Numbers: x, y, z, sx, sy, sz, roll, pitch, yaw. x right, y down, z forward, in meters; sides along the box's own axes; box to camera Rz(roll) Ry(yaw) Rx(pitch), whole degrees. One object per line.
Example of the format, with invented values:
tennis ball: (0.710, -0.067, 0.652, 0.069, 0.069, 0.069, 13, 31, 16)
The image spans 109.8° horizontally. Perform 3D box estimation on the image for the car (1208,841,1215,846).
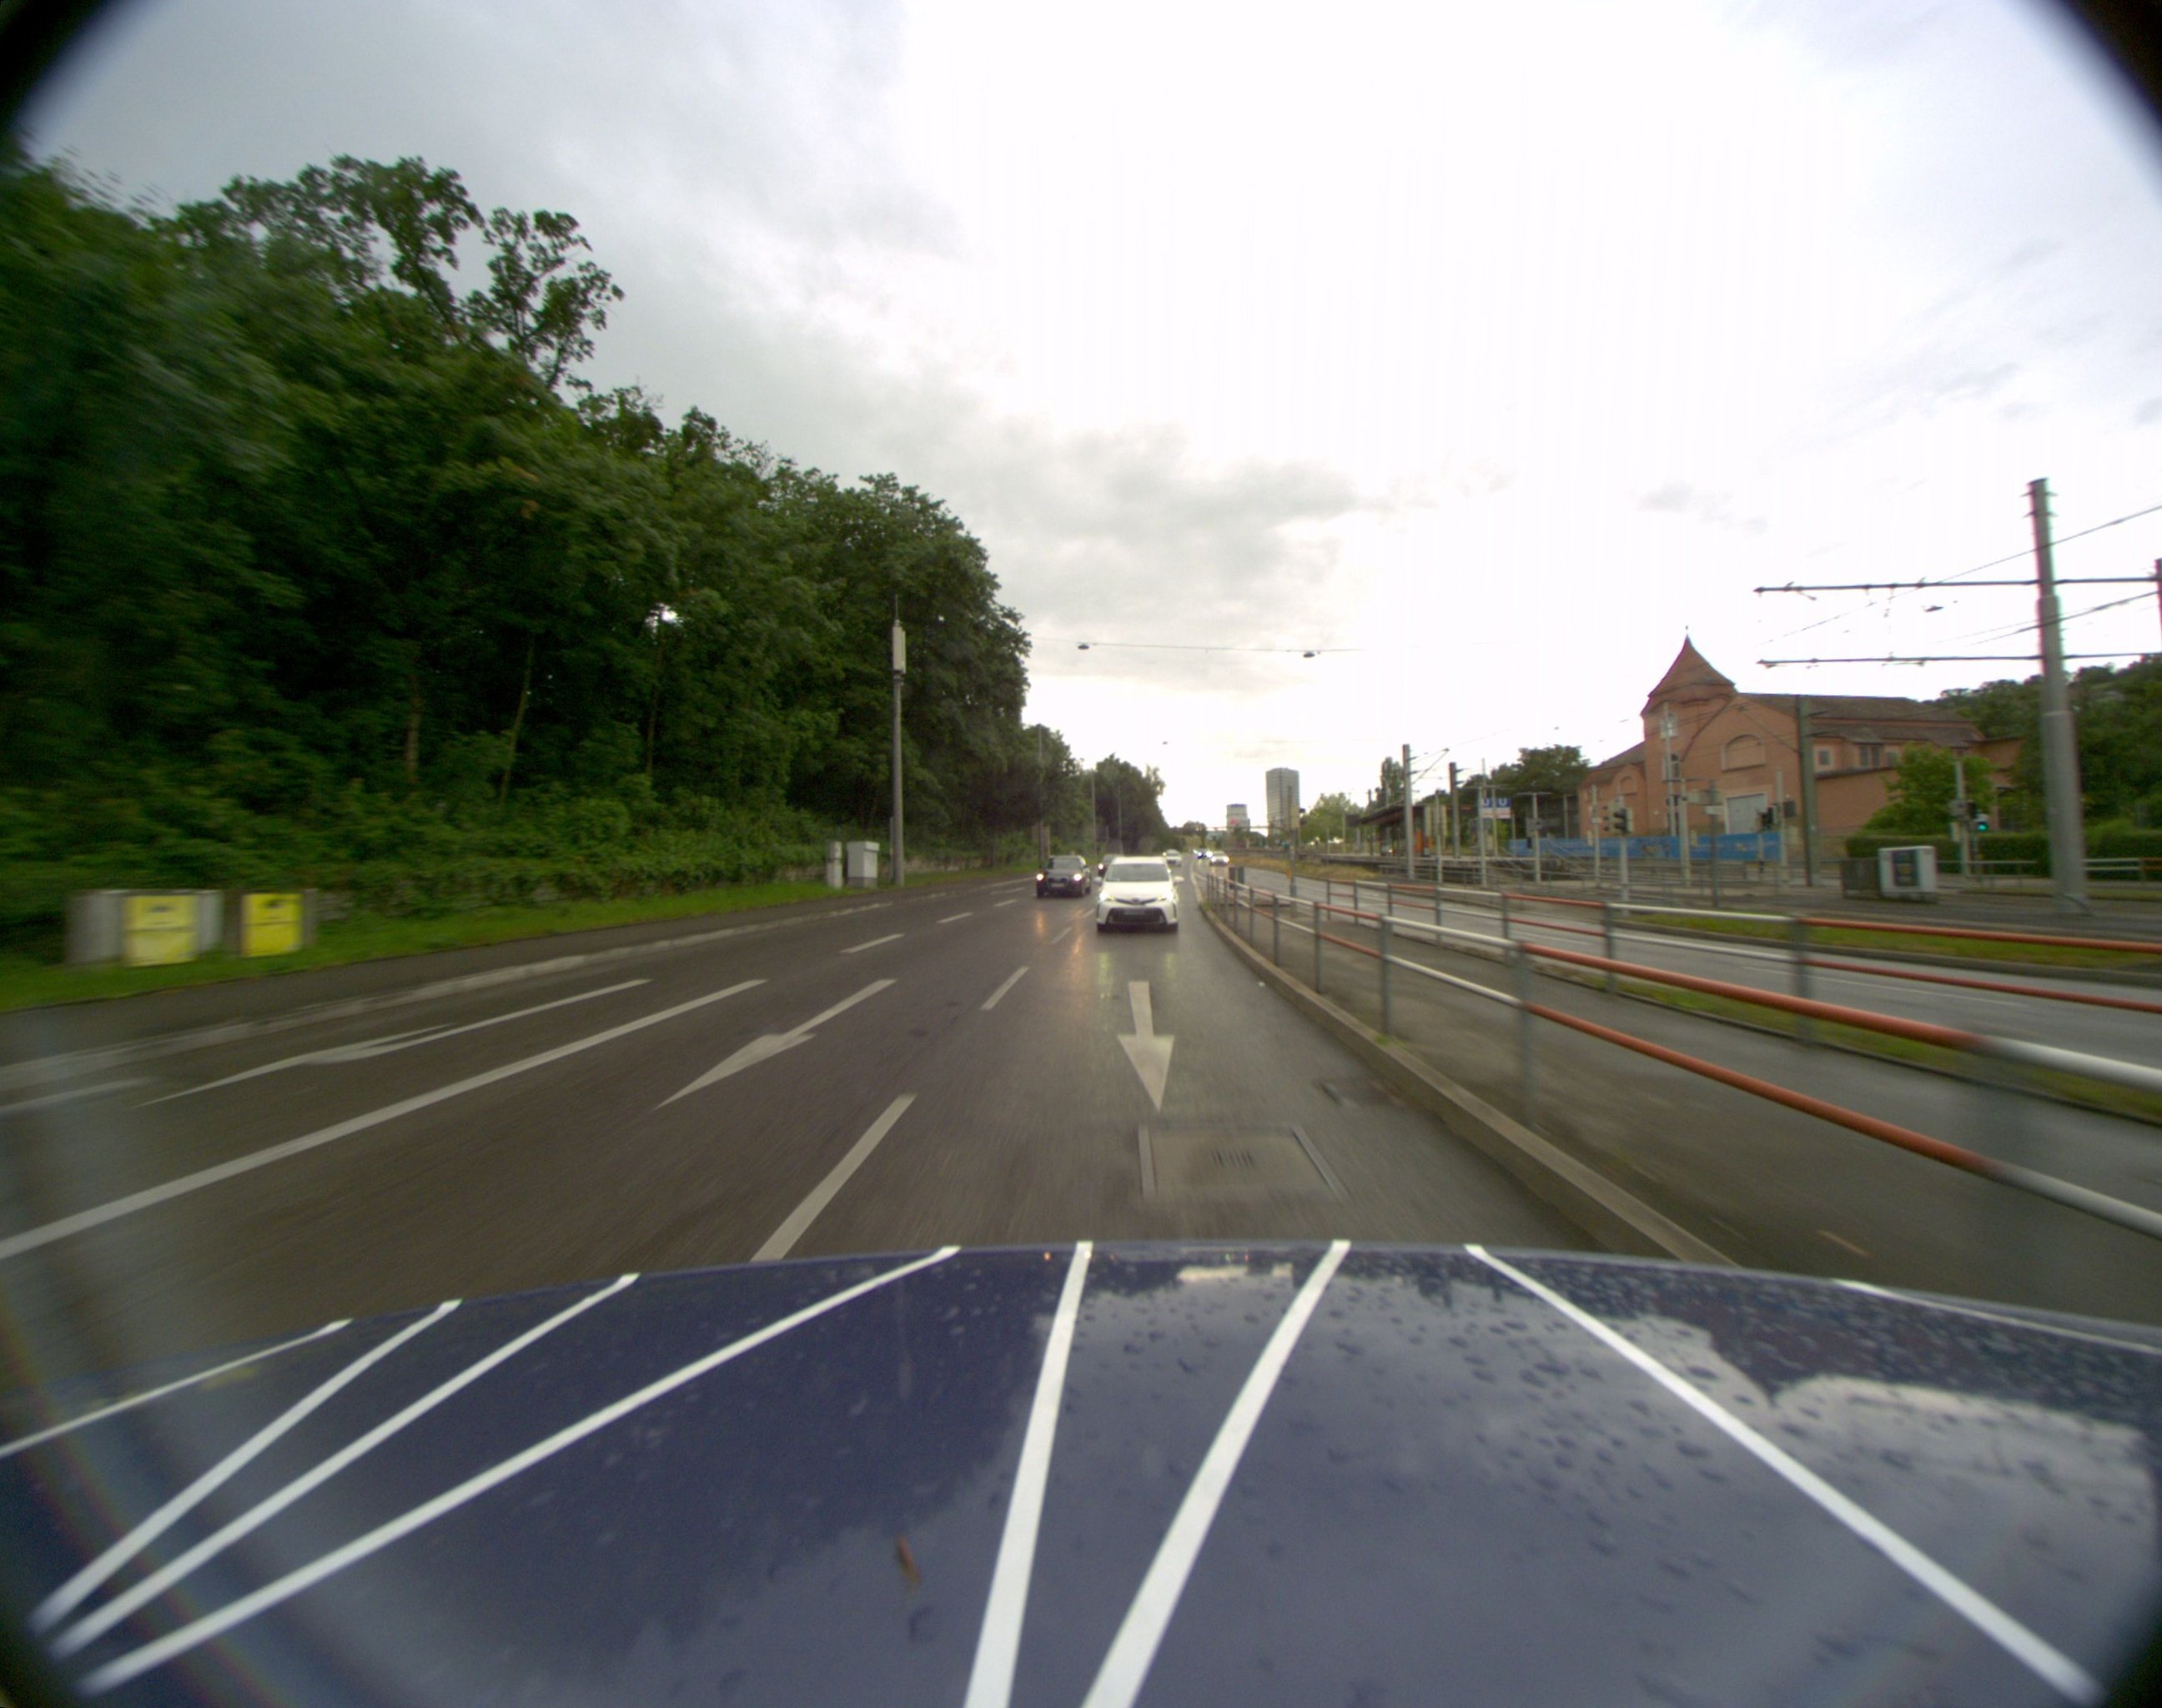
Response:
car: (37.299, -2.944, 217.283, 1.800, 1.463, 4.004, -1, 0, 11)

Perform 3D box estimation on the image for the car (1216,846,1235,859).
car: (19.529, -0.151, 103.055, 1.802, 1.502, 4.002, -1, -3, 0)

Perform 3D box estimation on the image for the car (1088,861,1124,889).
car: (1.593, 1.273, 46.907, 1.737, 1.578, 4.002, 0, 1, 9)

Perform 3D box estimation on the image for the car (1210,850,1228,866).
car: (14.346, 0.387, 78.911, 1.737, 1.578, 4.002, 0, 1, 9)

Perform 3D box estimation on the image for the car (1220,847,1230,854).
car: (30.251, -0.759, 159.908, 1.801, 1.463, 4.002, -1, 0, 6)

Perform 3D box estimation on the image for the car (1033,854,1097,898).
car: (-0.546, 0.823, 30.238, 1.854, 1.578, 4.002, 0, 1, 9)

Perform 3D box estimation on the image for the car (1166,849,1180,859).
car: (13.668, 0.029, 113.008, 1.801, 1.463, 4.002, -1, 0, 5)

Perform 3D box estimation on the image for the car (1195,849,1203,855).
car: (28.583, -0.468, 183.881, 1.801, 1.463, 4.002, -1, 0, 6)

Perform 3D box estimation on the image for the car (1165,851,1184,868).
car: (9.532, 0.539, 77.051, 1.737, 1.578, 4.002, 0, 1, 9)

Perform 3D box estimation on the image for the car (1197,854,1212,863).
car: (19.593, 0.747, 120.665, 1.801, 1.463, 4.001, -1, 0, 3)

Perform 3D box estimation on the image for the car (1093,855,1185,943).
car: (1.265, 0.912, 17.437, 1.855, 1.741, 4.000, 0, 1, 3)

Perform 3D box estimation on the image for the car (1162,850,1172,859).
car: (15.557, 0.096, 137.255, 1.801, 1.463, 4.002, -1, 0, 6)
